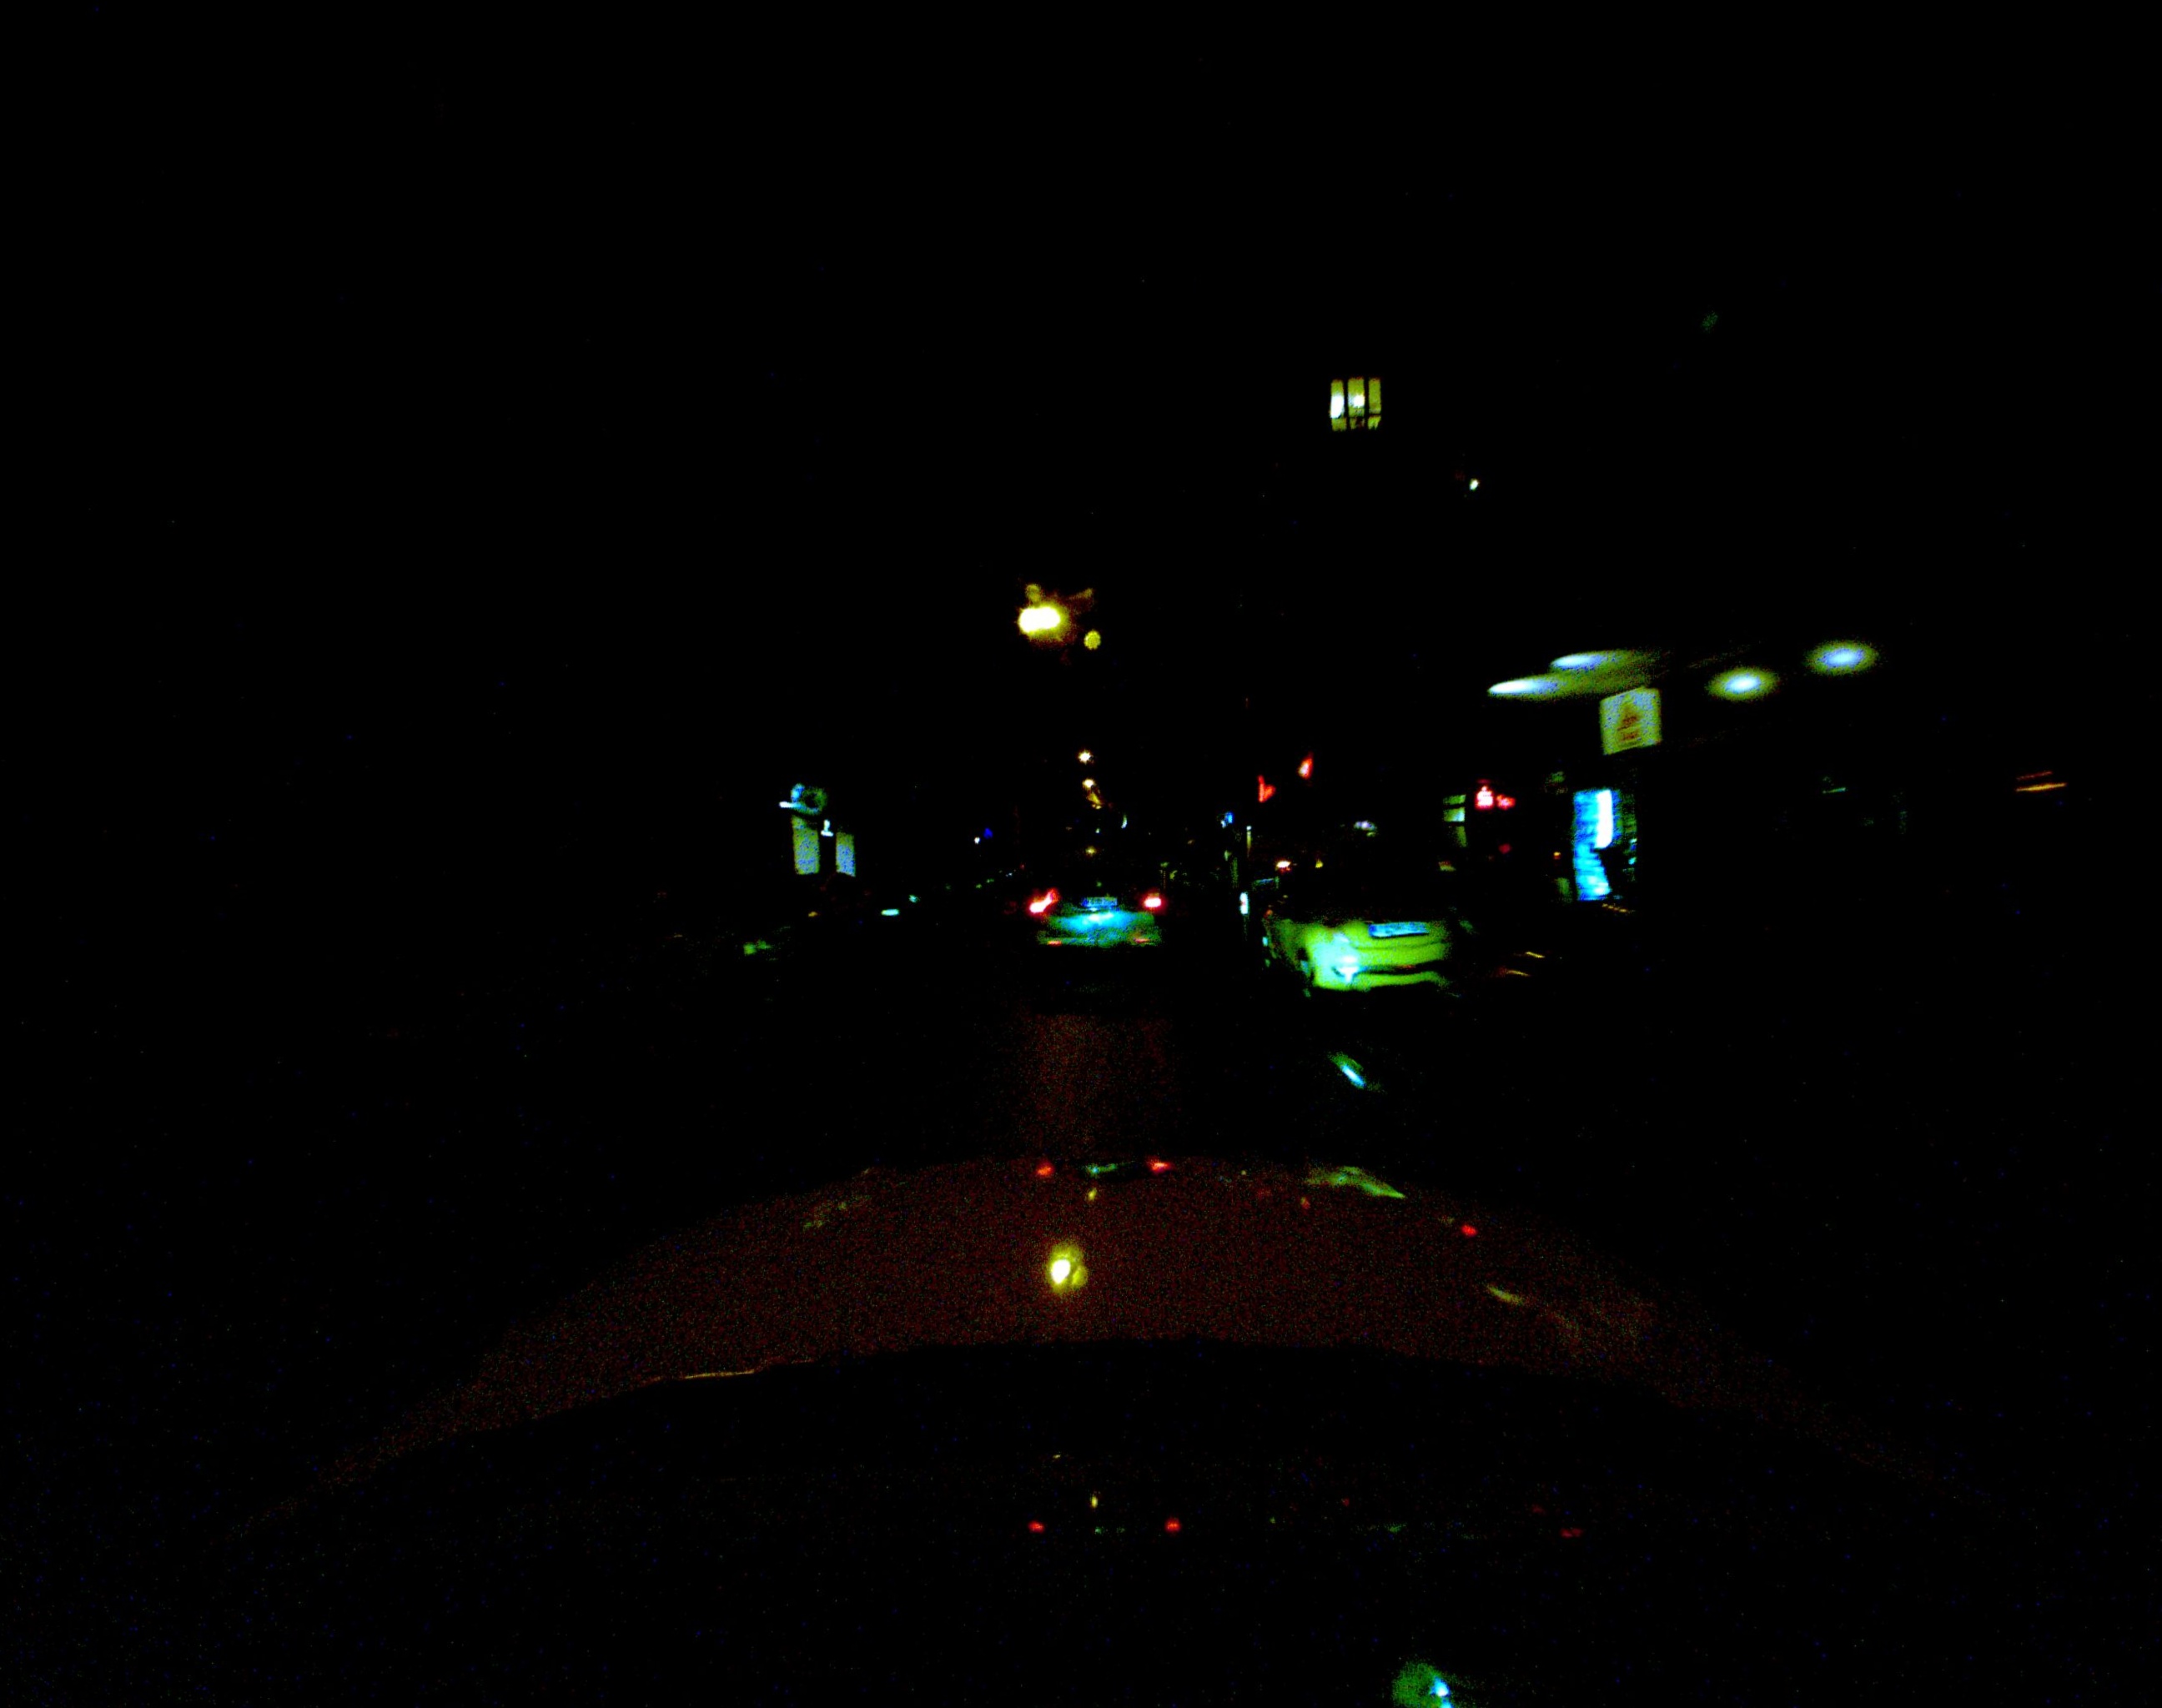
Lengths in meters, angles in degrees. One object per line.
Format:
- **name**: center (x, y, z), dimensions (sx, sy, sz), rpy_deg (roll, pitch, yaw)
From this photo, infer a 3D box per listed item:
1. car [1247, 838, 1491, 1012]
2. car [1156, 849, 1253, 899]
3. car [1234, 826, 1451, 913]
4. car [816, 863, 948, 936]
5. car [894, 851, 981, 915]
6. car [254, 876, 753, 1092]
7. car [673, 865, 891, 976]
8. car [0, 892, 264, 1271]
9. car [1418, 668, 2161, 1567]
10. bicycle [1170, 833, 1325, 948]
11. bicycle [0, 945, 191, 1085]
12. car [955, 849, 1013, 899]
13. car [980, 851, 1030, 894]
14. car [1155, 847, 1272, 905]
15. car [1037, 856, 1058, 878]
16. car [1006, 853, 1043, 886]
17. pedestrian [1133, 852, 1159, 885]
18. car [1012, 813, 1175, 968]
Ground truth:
- **car**: center (2.941, 0.665, 9.062), dimensions (1.586, 1.543, 3.421), rpy_deg (-1, -1, 2)
- **car**: center (5.455, 0.898, 36.369), dimensions (3.972, 2.014, 2.001), rpy_deg (-3, -2, 2)
- **car**: center (6.484, 0.338, 20.303), dimensions (4.824, 1.922, 2.116), rpy_deg (-1, 0, -19)
- **car**: center (-4.363, 0.945, 18.507), dimensions (1.987, 1.449, 4.000), rpy_deg (0, -1, 0)
- **car**: center (-4.402, 0.859, 25.631), dimensions (1.987, 1.862, 4.093), rpy_deg (0, -1, 0)
- **car**: center (-4.989, 0.991, 7.963), dimensions (1.683, 1.400, 4.319), rpy_deg (0, 0, 2)
- **car**: center (-4.691, 0.953, 13.610), dimensions (1.747, 1.449, 4.626), rpy_deg (0, 0, 2)
- **car**: center (-5.106, 0.947, 2.486), dimensions (1.580, 1.449, 3.504), rpy_deg (-1, 0, 2)
- **car**: center (2.809, 0.481, 2.680), dimensions (1.747, 1.608, 3.989), rpy_deg (-1, -1, 0)
- **bicycle**: center (2.735, 0.605, 13.579), dimensions (2.307, 1.639, 0.890), rpy_deg (-6, -1, 8)
- **bicycle**: center (-8.506, 1.308, 6.535), dimensions (0.447, 0.958, 2.015), rpy_deg (-3, -2, 2)
- **car**: center (-4.092, 0.824, 34.942), dimensions (1.987, 2.014, 4.000), rpy_deg (0, -1, 0)
- **car**: center (-3.733, 0.909, 40.682), dimensions (1.986, 2.014, 4.001), rpy_deg (0, -1, 1)
- **car**: center (5.172, 0.869, 31.996), dimensions (3.994, 2.014, 1.989), rpy_deg (-2, -2, -15)
- **car**: center (-3.141, 1.177, 76.314), dimensions (1.743, 2.014, 4.001), rpy_deg (0, -1, 1)
- **car**: center (-3.553, 0.991, 52.092), dimensions (1.986, 2.014, 4.001), rpy_deg (0, -1, 1)
- **pedestrian**: center (3.408, 0.764, 42.714), dimensions (1.222, 1.675, 0.697), rpy_deg (-3, -2, 1)
- **car**: center (0.121, 0.480, 13.106), dimensions (2.117, 1.991, 4.598), rpy_deg (-2, 0, -1)
